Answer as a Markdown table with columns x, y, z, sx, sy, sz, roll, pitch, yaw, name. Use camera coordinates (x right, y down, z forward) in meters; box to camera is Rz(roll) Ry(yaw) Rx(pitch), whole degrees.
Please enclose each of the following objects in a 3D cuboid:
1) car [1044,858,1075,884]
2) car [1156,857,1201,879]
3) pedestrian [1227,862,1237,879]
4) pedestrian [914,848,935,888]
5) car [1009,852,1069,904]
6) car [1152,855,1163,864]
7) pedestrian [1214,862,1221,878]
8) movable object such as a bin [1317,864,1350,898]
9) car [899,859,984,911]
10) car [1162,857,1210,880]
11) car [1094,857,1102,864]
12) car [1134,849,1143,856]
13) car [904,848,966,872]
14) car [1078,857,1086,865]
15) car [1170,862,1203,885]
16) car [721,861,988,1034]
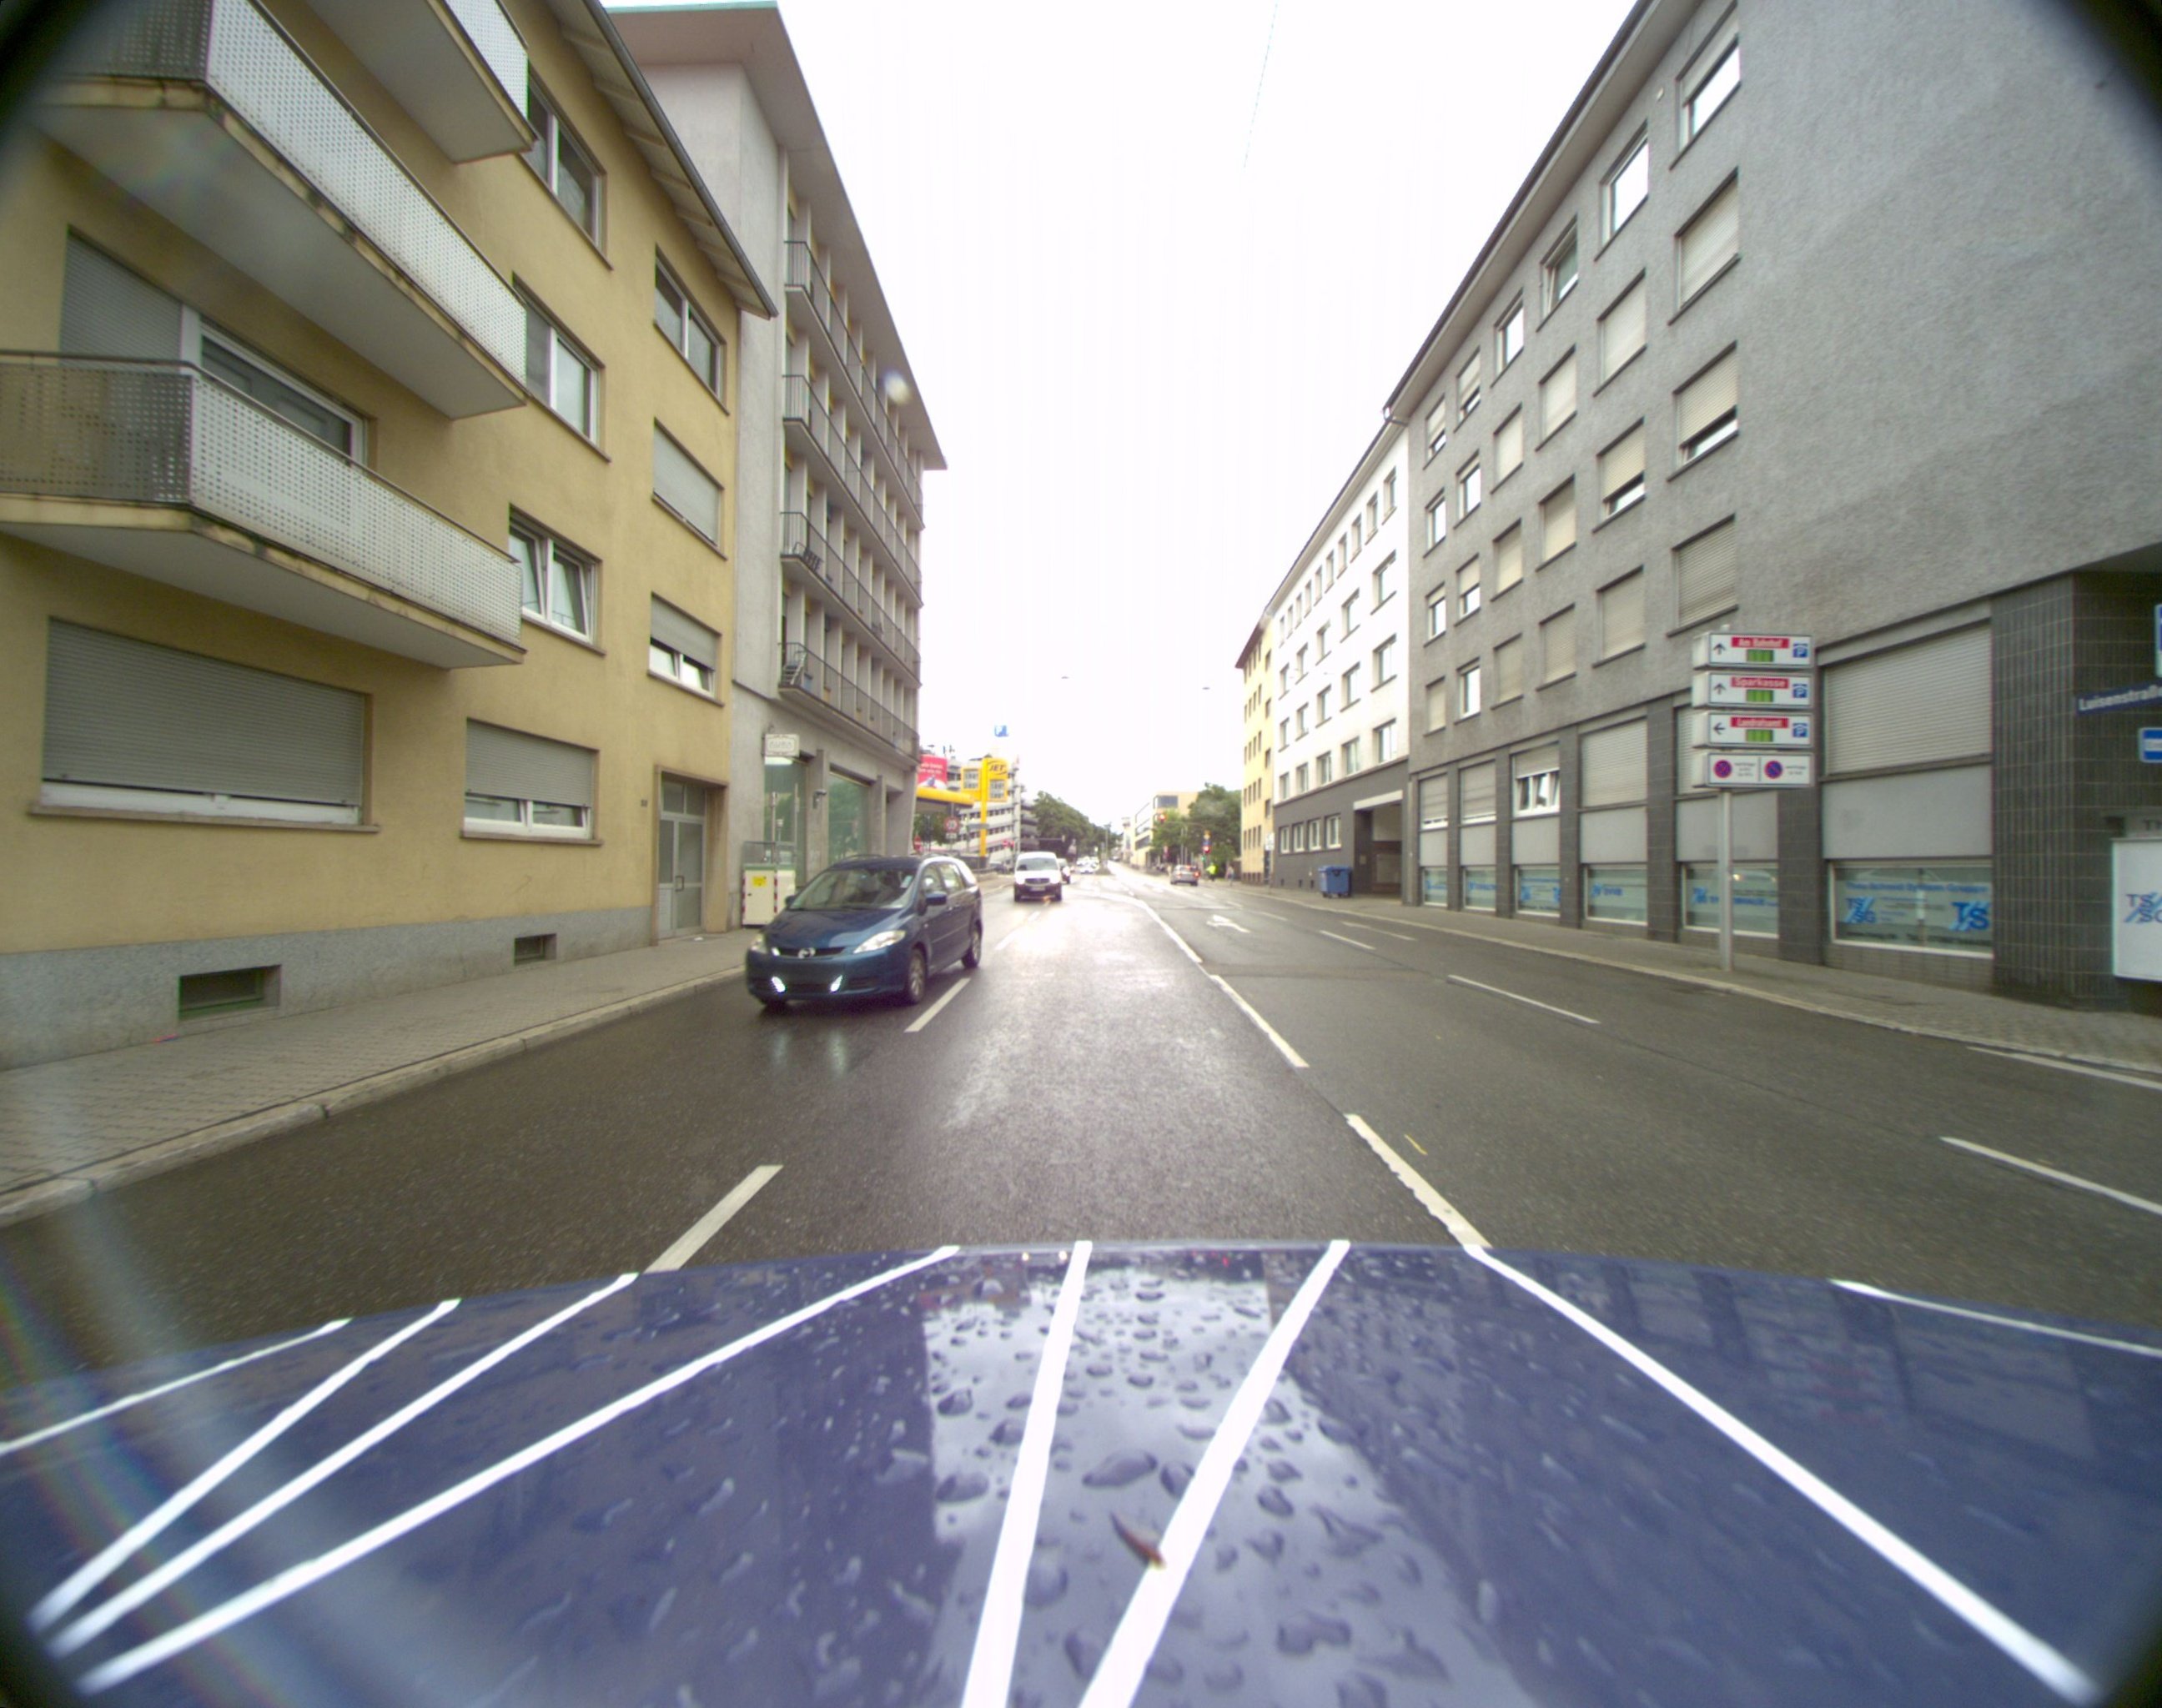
| x | y | z | sx | sy | sz | roll | pitch | yaw | name |
| --- | --- | --- | --- | --- | --- | --- | --- | --- | --- |
| -1.363 | 1.062 | 49.139 | 1.771 | 1.571 | 4.000 | -1 | 0 | 1 | car |
| 8.687 | 1.244 | 68.196 | 3.794 | 1.823 | 1.692 | -3 | 0 | 2 | car |
| 10.321 | 1.126 | 51.929 | 0.582 | 1.143 | 0.407 | 3 | 1 | 1 | pedestrian |
| -6.920 | 0.595 | 33.568 | 0.679 | 1.745 | 0.888 | 1 | 1 | 3 | pedestrian |
| -1.509 | 0.825 | 29.014 | 1.945 | 1.764 | 4.746 | -2 | 0 | 0 | car |
| 16.522 | 1.203 | 164.781 | 1.998 | 1.863 | 3.999 | -2 | 1 | 1 | car |
| 11.862 | 1.381 | 66.145 | 0.442 | 1.362 | 0.535 | 3 | 1 | 3 | pedestrian |
| 10.460 | 1.106 | 31.489 | 0.946 | 1.325 | 1.096 | -3 | 0 | 1 | movable object such as a bin |
| -4.265 | 0.902 | 23.922 | 1.803 | 1.427 | 4.166 | 1 | 0 | 1 | car |
| 9.051 | 1.233 | 65.826 | 3.928 | 1.706 | 1.903 | -3 | 0 | 2 | car |
| 4.525 | 1.622 | 203.973 | 1.998 | 1.736 | 4.000 | -2 | 1 | 1 | car |
| 14.079 | -0.401 | 187.644 | 1.998 | 1.683 | 4.000 | -2 | 1 | 2 | car |
| -9.885 | 0.398 | 51.358 | 3.989 | 1.465 | 1.775 | -2 | 0 | 37 | car |
| 0.336 | 1.740 | 194.893 | 1.998 | 2.002 | 3.999 | -2 | 1 | 1 | car |
| 7.725 | 1.428 | 55.926 | 1.883 | 1.580 | 4.373 | 0 | 0 | 1 | car |
| -2.460 | 0.932 | 9.466 | 1.812 | 1.597 | 4.212 | -2 | 0 | 3 | car |
